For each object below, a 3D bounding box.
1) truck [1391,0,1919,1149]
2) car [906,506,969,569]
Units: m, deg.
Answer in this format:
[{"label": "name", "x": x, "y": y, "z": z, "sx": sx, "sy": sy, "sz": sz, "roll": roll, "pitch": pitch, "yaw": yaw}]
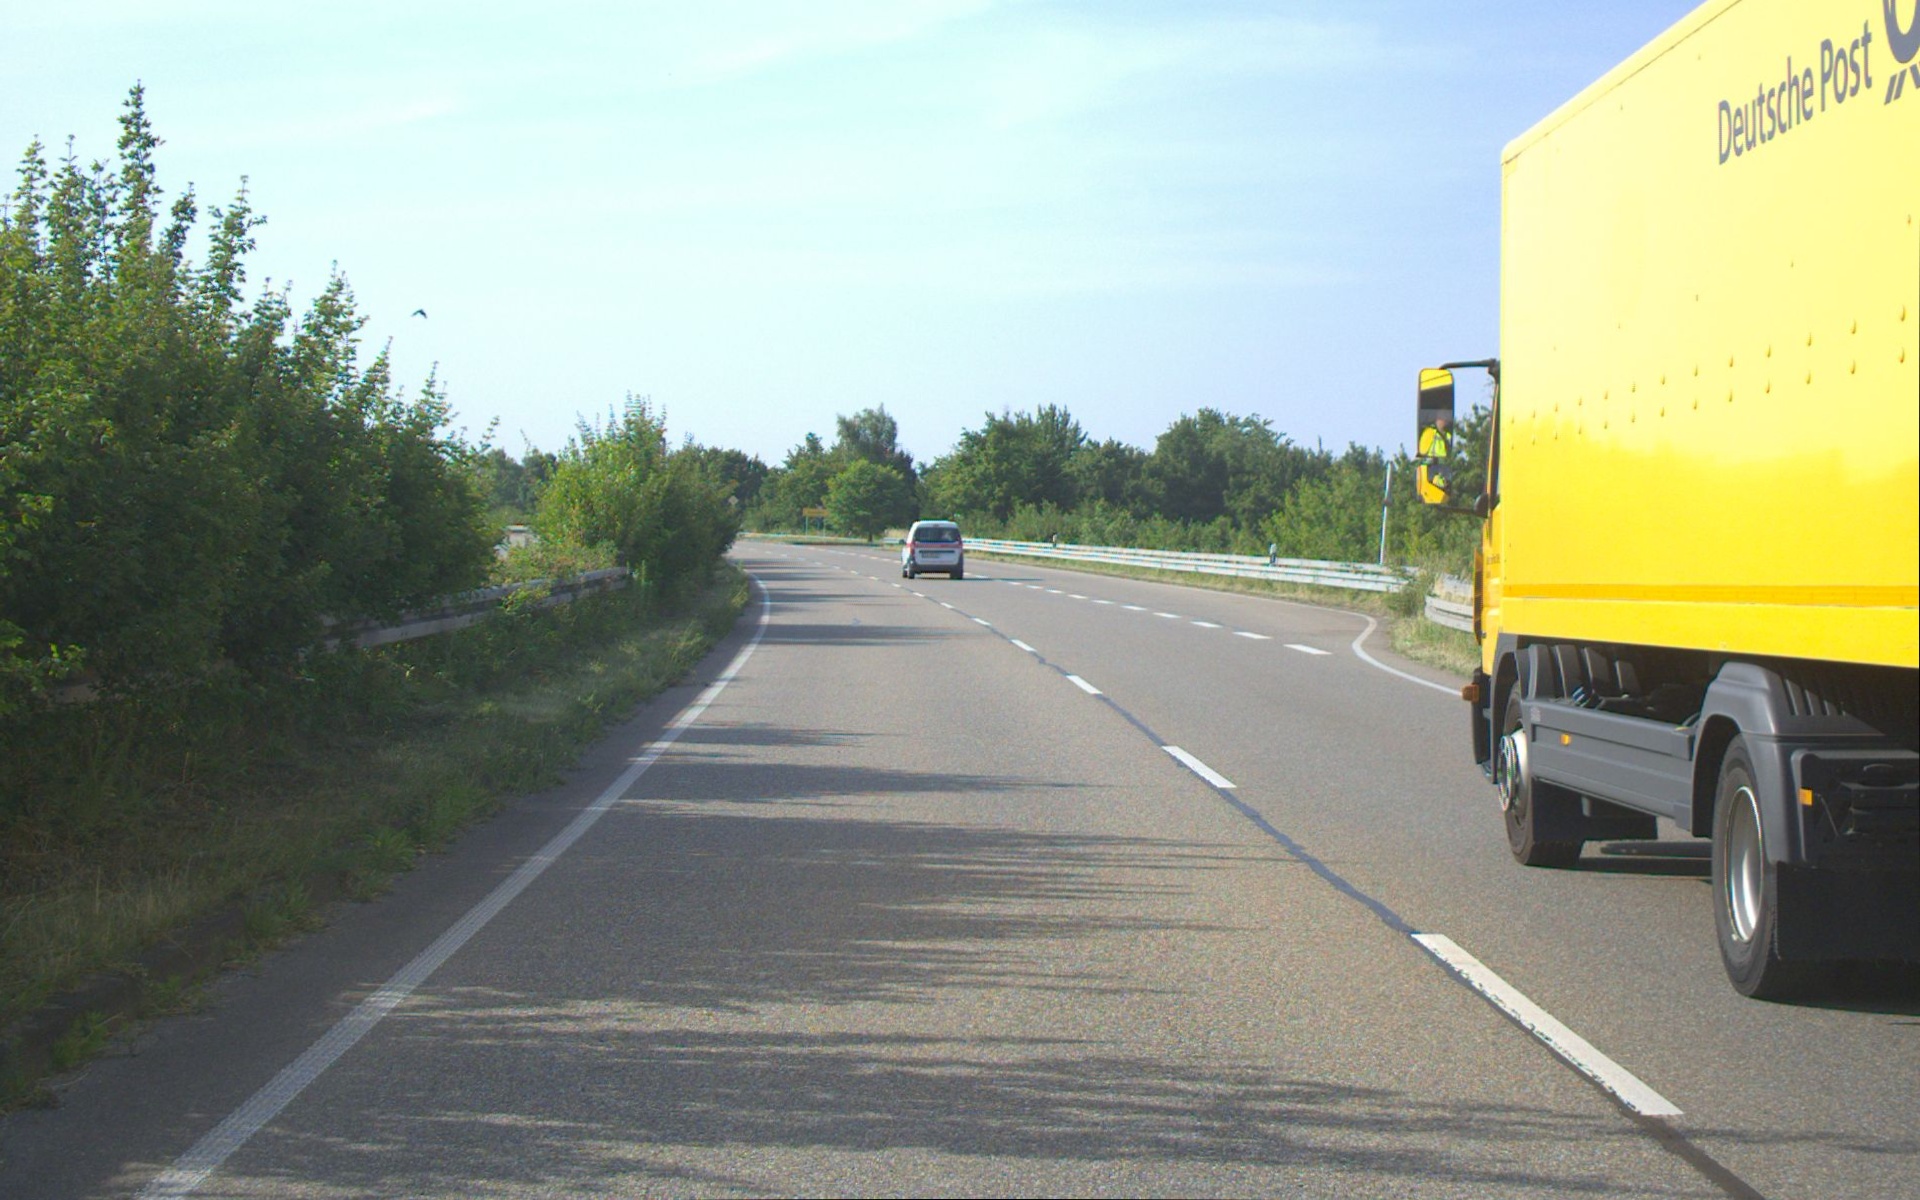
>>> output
[{"label": "truck", "x": 3.804, "y": -0.385, "z": 13.716, "sx": 2.778, "sy": 3.305, "sz": 10.490, "roll": 1, "pitch": 1, "yaw": 0}, {"label": "car", "x": -0.717, "y": -1.919, "z": 106.271, "sx": 1.765, "sy": 1.875, "sz": 4.000, "roll": 0, "pitch": 1, "yaw": -3}]
